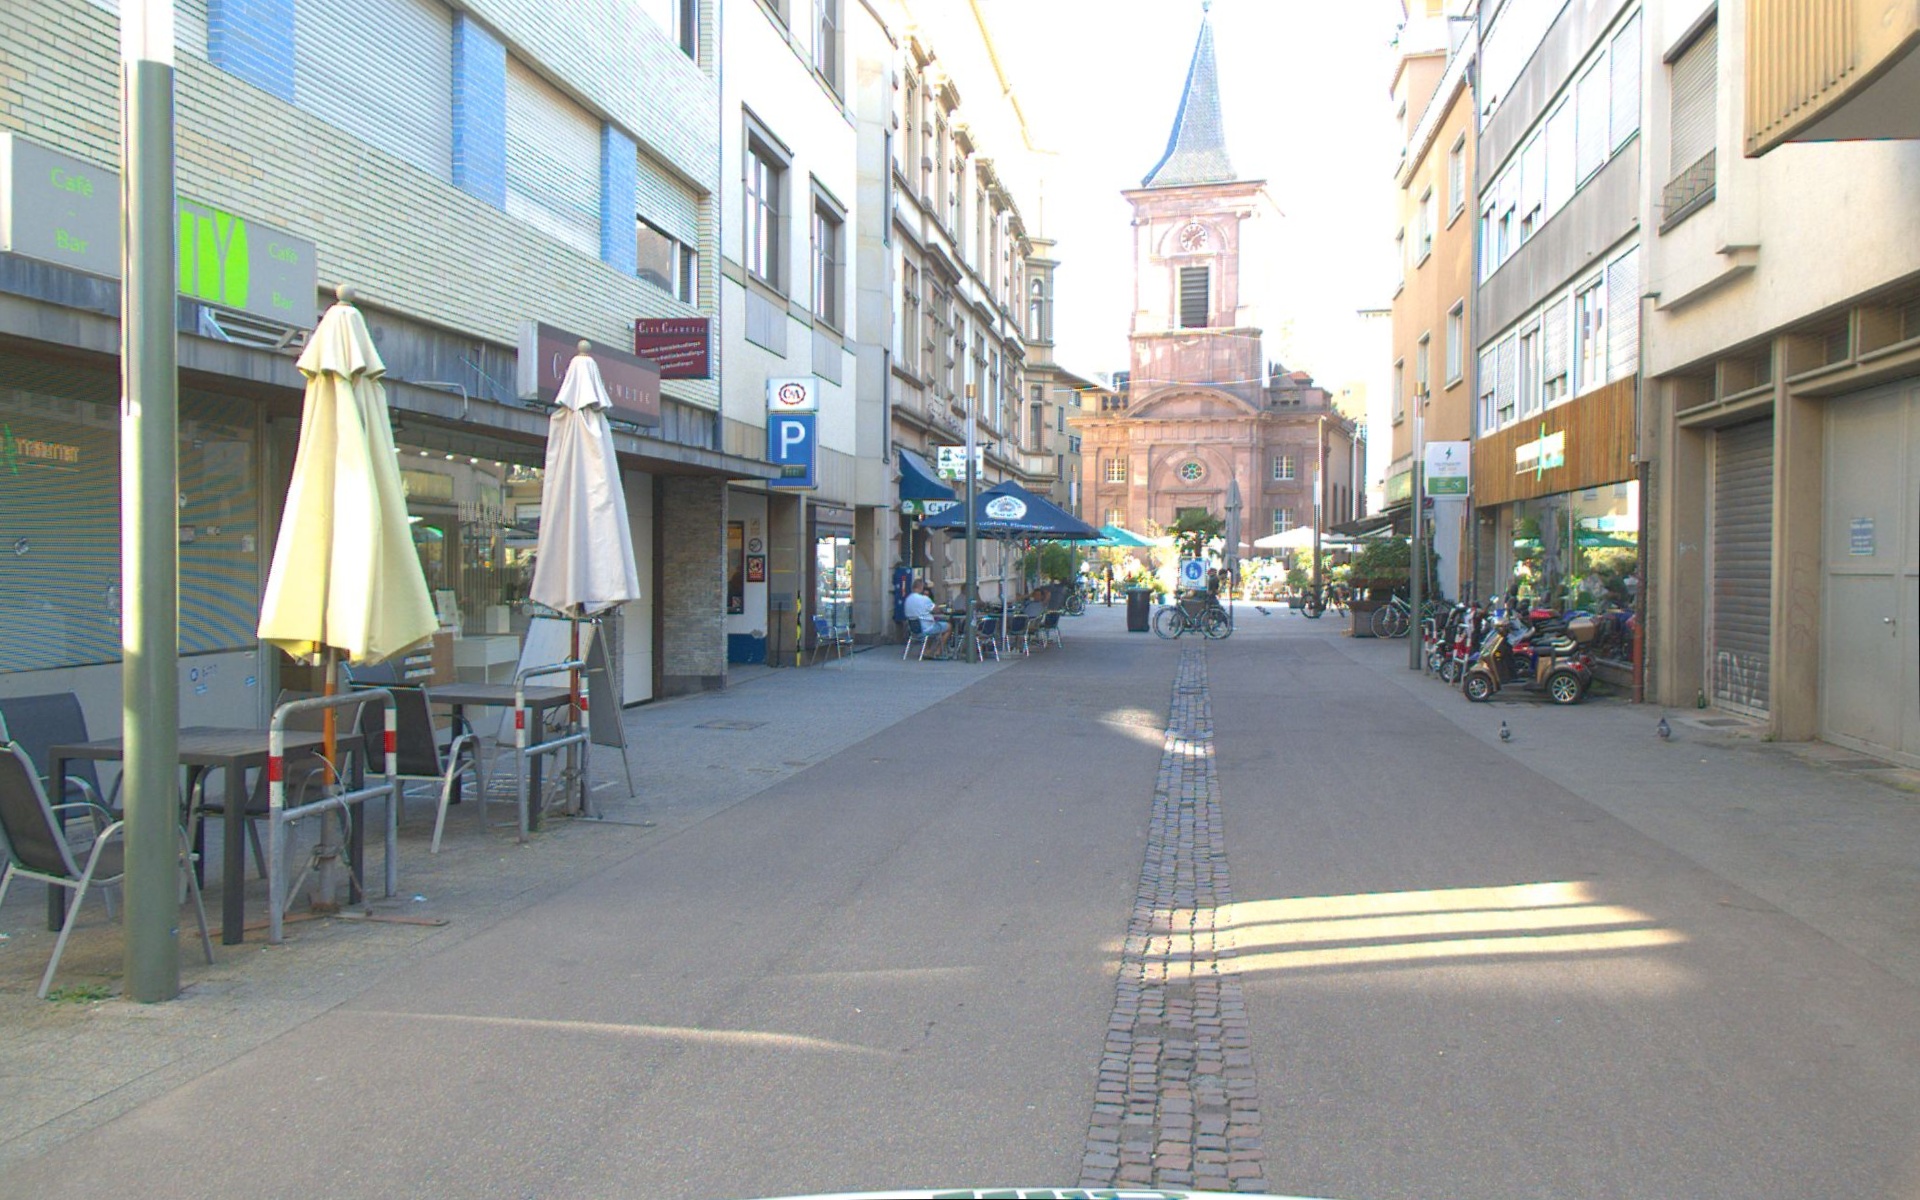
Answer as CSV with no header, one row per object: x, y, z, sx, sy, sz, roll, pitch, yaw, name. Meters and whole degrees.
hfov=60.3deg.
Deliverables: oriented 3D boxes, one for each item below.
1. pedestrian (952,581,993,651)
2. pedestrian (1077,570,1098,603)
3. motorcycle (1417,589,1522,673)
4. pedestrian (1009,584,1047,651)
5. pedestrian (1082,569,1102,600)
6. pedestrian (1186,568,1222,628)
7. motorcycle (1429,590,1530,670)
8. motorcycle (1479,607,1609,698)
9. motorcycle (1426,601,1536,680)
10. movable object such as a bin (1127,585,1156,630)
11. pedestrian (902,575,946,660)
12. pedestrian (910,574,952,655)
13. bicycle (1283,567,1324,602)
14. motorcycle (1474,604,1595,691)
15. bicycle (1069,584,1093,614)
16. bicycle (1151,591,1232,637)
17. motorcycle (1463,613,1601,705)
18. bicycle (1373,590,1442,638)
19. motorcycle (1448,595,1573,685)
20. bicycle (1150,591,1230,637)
0.230,0.293,30.414,0.749,1.254,0.831,0,1,0,pedestrian
4.928,-0.525,64.056,0.685,1.239,0.720,1,1,14,pedestrian
7.536,0.446,24.481,1.454,1.202,0.412,0,1,24,motorcycle
1.265,0.325,30.940,0.678,1.236,0.583,0,1,0,pedestrian
5.235,-0.614,65.458,0.685,1.239,0.720,1,1,14,pedestrian
6.163,-0.067,41.739,0.865,1.489,0.731,0,1,9,pedestrian
7.990,0.452,25.442,1.454,1.202,0.412,0,1,24,motorcycle
7.257,0.637,20.566,1.487,1.094,0.412,0,1,27,motorcycle
7.458,0.562,23.684,1.454,1.094,0.412,0,1,27,motorcycle
4.473,0.182,40.723,0.706,1.093,0.374,0,1,7,movable object such as a bin
-0.606,0.280,27.650,0.694,1.392,0.719,0,1,-4,pedestrian
-0.511,0.243,28.747,0.703,1.392,0.710,0,1,-4,pedestrian
12.924,-0.579,62.177,1.563,1.330,0.363,0,1,-21,bicycle
7.500,0.613,21.601,1.454,1.094,0.412,0,1,27,motorcycle
3.645,-0.048,49.813,0.447,0.864,2.148,0,1,12,bicycle
5.196,0.309,37.212,1.785,1.022,0.381,0,1,5,bicycle
6.864,0.695,19.866,1.533,1.060,0.372,0,1,27,motorcycle
9.807,0.302,36.244,1.432,1.022,0.573,1,1,15,bicycle
7.575,0.532,22.787,1.593,1.195,0.480,0,1,27,motorcycle
5.228,0.312,37.610,1.785,1.022,0.381,0,1,5,bicycle
